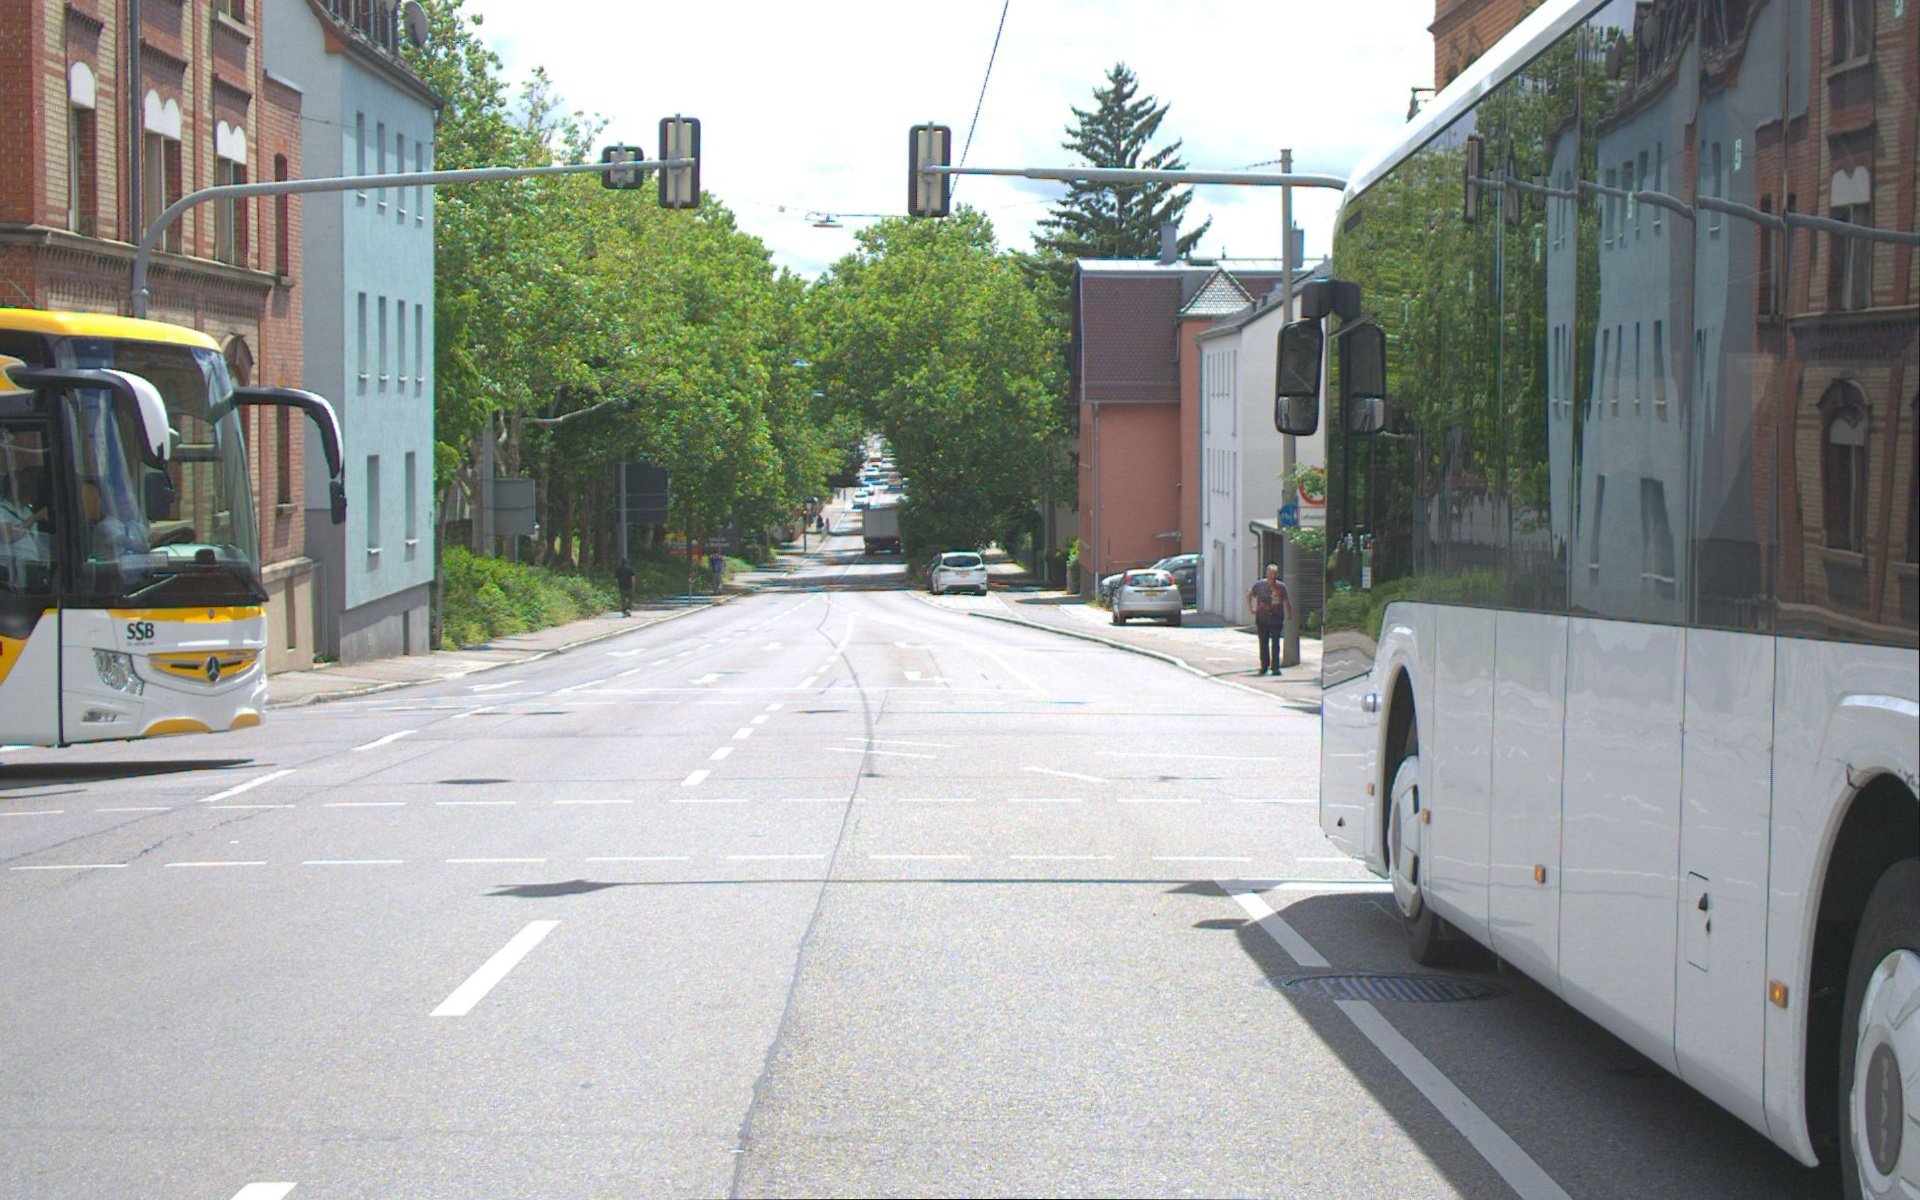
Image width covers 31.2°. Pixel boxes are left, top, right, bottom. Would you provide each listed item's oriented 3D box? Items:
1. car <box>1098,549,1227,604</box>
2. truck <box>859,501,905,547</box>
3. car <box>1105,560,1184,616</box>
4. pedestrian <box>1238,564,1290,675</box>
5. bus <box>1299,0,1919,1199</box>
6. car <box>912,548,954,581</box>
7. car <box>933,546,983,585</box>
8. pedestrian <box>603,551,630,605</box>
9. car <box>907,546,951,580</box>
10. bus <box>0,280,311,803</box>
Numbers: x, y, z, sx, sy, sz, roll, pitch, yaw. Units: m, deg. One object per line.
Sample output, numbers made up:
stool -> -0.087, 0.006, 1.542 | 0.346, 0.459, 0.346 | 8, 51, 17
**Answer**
car -> 6.656, -0.786, 113.174 | 3.986, 1.751, 2.000 | -1, 1, -5
truck -> -5.477, -5.298, 239.259 | 2.926, 3.070, 7.886 | -1, 1, -3
car -> 4.980, -0.336, 93.076 | 1.794, 1.405, 4.001 | -1, 1, -2
pedestrian -> 4.834, 0.302, 54.716 | 0.738, 1.744, 0.619 | -1, 1, -1
bus -> 2.927, -0.240, 9.370 | 2.672, 3.145, 12.462 | 0, 1, 0
car -> -1.189, -1.592, 153.938 | 1.794, 1.405, 4.419 | 1, 1, 0
car -> -0.084, -1.310, 129.404 | 1.794, 1.405, 4.000 | 1, 1, -1
pedestrian -> -10.012, -0.636, 100.173 | 0.729, 1.560, 0.561 | 0, 1, -1
car -> -1.289, -1.587, 145.831 | 1.794, 1.405, 4.419 | 1, 1, 0
bus -> -11.241, -0.529, 26.915 | 12.234, 3.609, 2.769 | 1, 1, 18
